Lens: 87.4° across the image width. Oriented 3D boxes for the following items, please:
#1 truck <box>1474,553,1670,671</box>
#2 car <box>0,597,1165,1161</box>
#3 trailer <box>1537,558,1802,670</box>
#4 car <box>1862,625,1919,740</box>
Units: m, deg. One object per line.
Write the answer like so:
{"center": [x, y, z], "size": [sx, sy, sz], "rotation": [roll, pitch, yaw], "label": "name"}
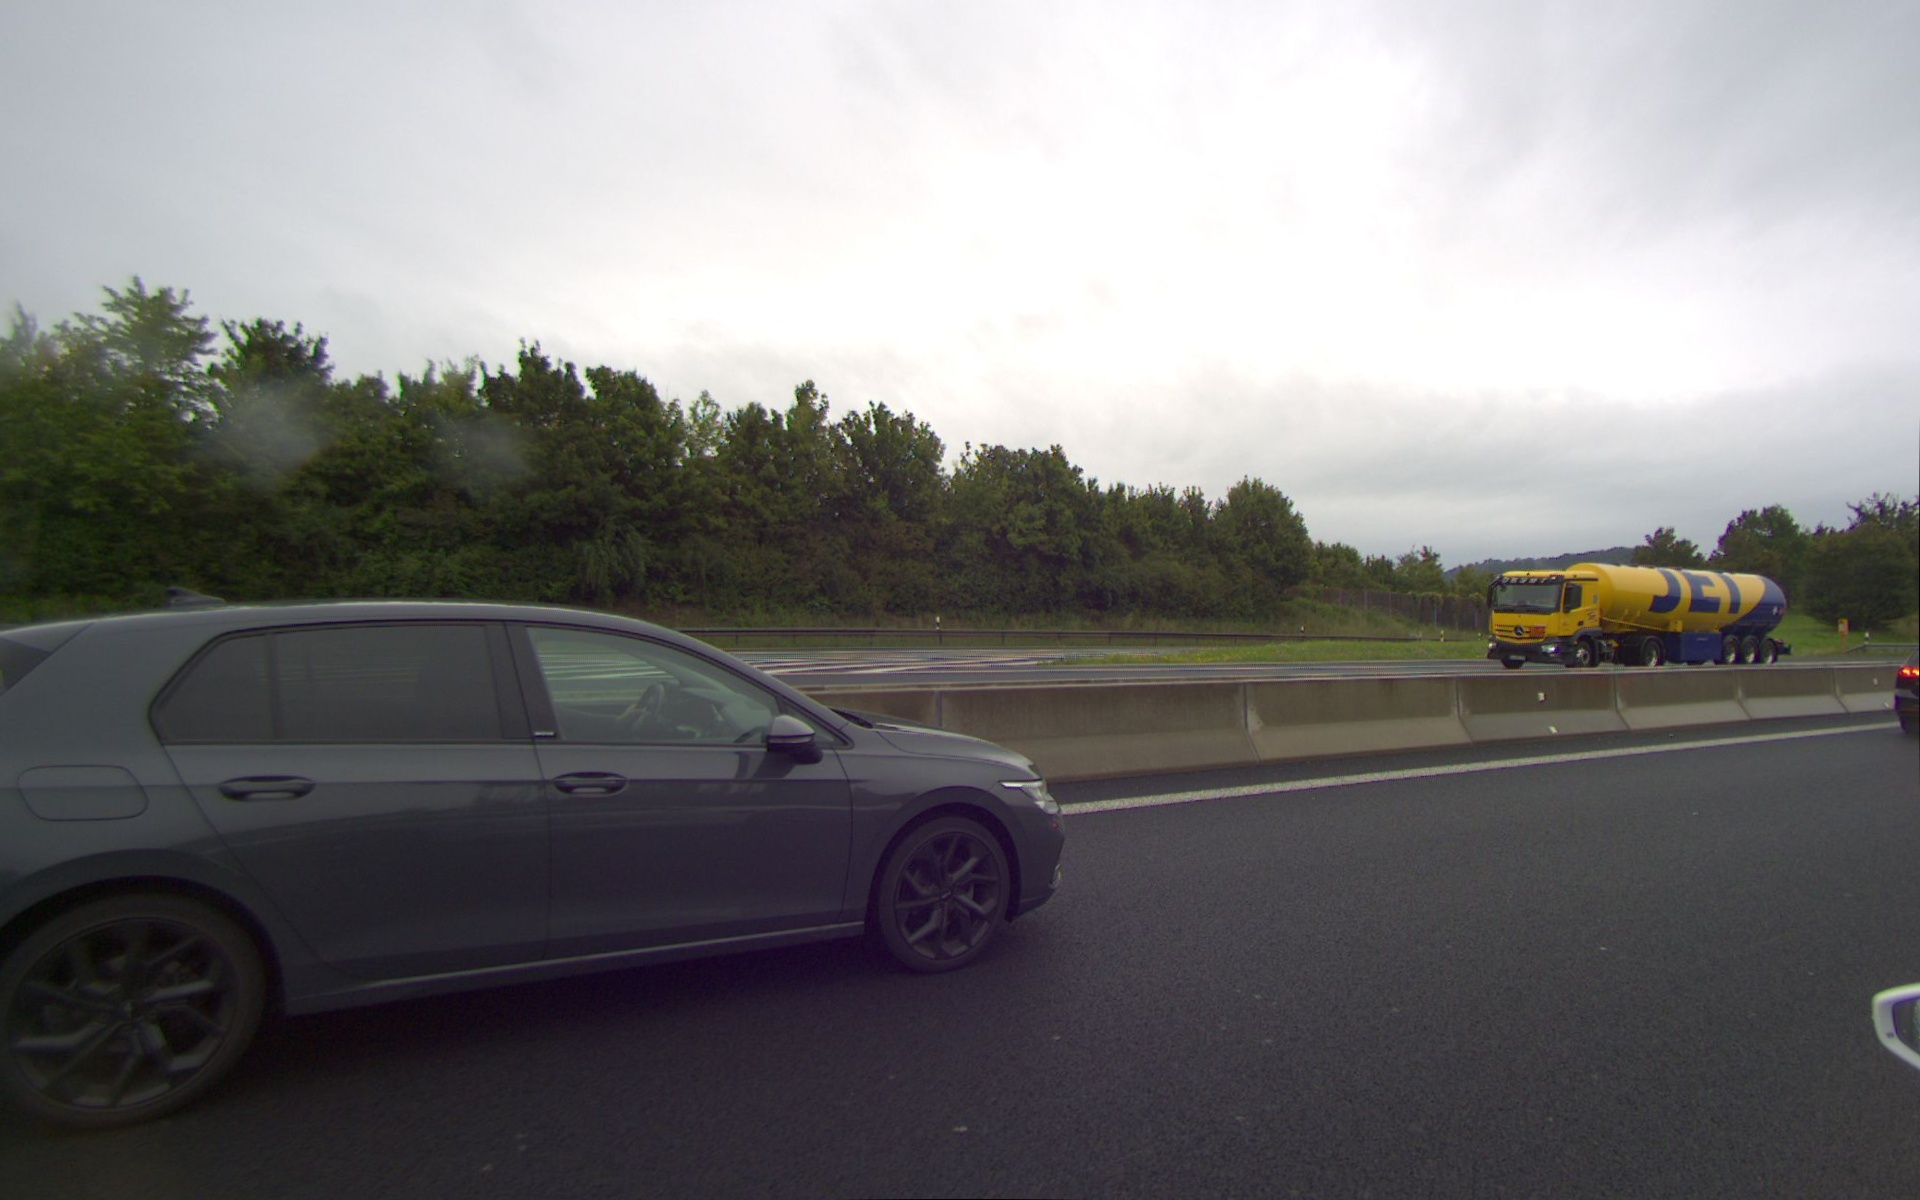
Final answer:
{"center": [19.429, 0.396, 31.859], "size": [5.773, 3.443, 2.750], "rotation": [2, 0, -28], "label": "truck"}
{"center": [-1.458, 0.736, 4.194], "size": [4.406, 1.424, 1.892], "rotation": [1, -1, -30], "label": "car"}
{"center": [24.737, 0.566, 34.750], "size": [11.306, 3.443, 2.750], "rotation": [2, 0, -29], "label": "trailer"}
{"center": [14.960, 1.152, 14.235], "size": [4.795, 1.517, 1.891], "rotation": [2, -1, -31], "label": "car"}
